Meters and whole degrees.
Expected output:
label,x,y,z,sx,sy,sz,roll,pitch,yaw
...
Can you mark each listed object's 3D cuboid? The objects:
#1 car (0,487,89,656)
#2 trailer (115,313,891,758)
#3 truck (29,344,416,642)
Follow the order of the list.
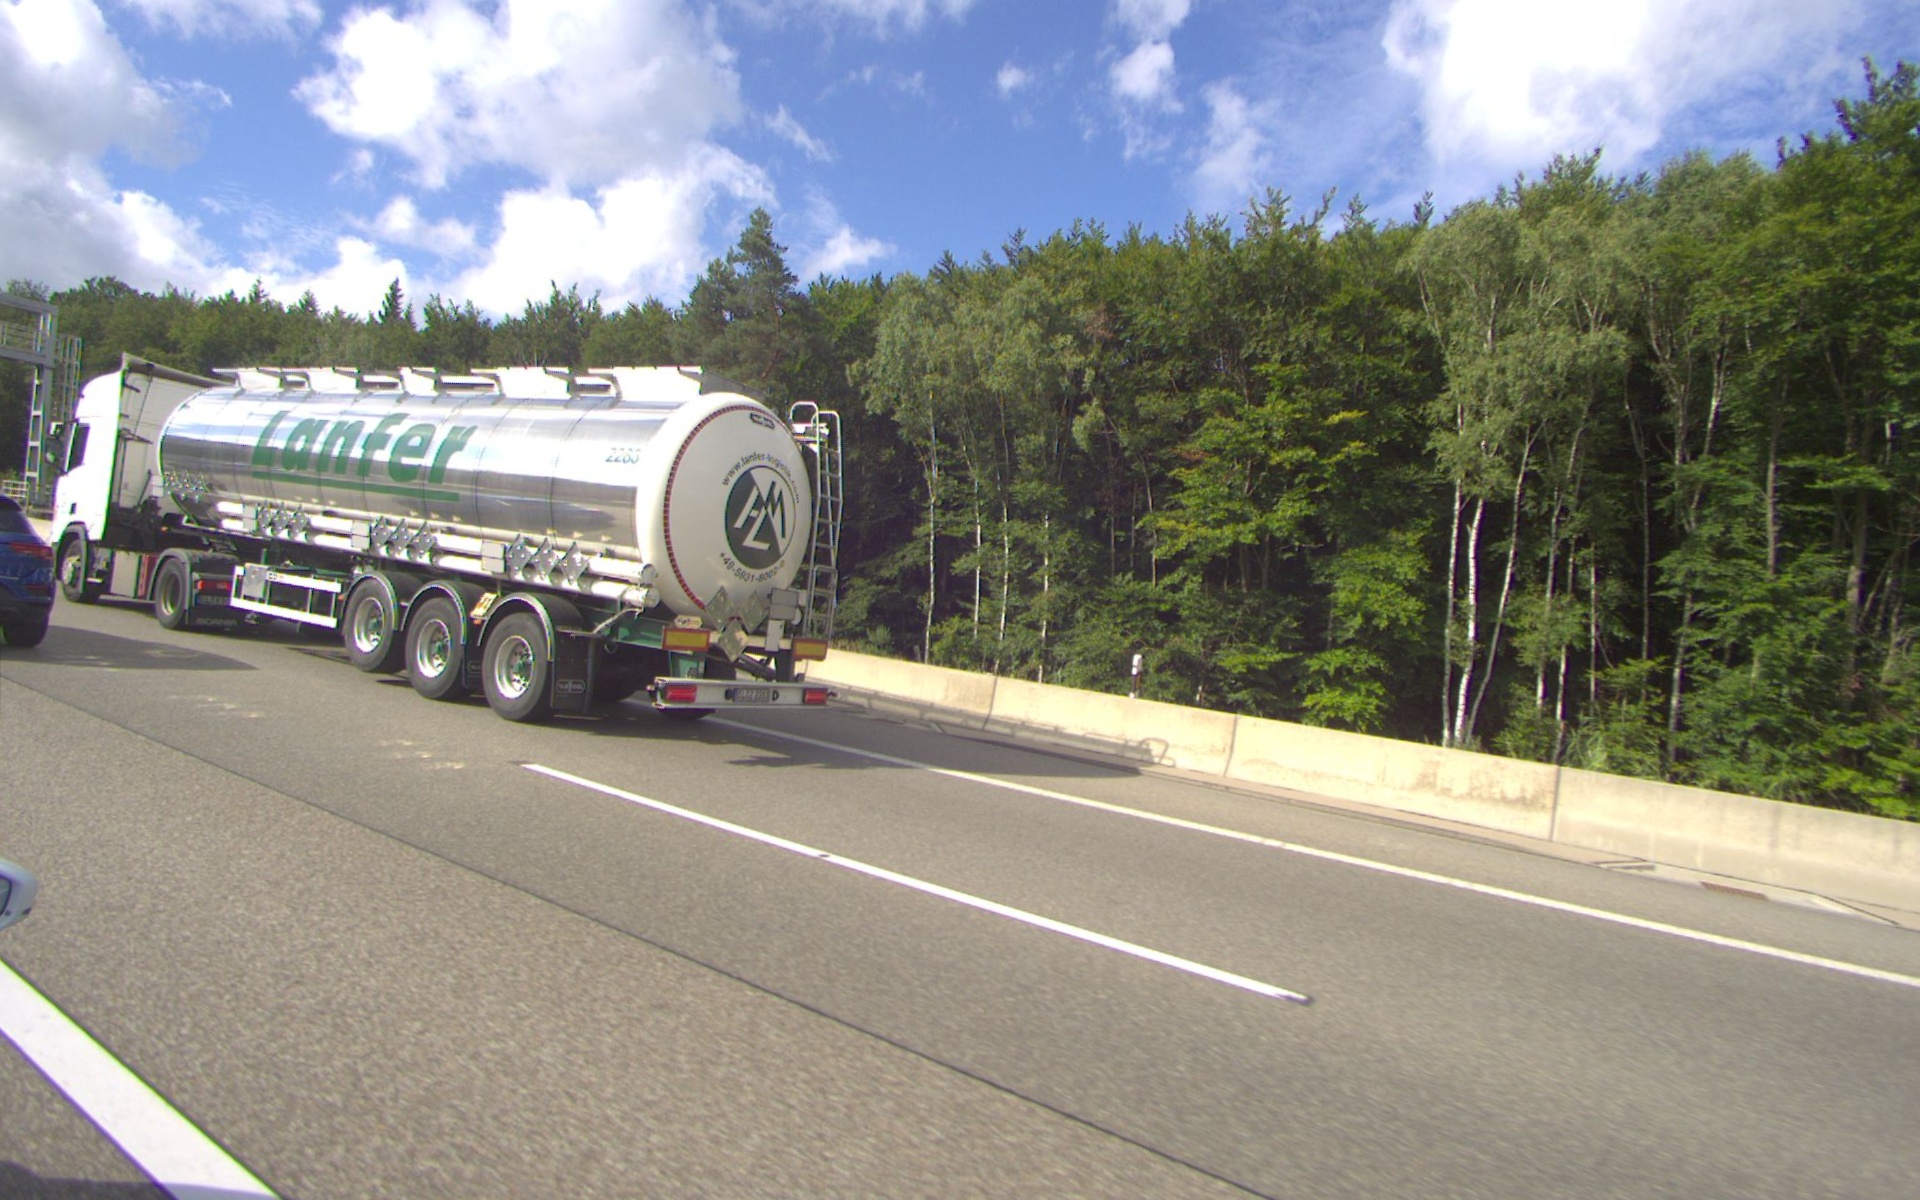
label,x,y,z,sx,sy,sz,roll,pitch,yaw
car,-10.965,-0.483,10.265,4.383,1.548,1.776,6,-2,31
trailer,-6.563,-1.032,12.781,11.663,3.813,2.652,7,0,32
truck,-11.898,-1.680,16.107,5.981,3.870,2.652,7,0,32
